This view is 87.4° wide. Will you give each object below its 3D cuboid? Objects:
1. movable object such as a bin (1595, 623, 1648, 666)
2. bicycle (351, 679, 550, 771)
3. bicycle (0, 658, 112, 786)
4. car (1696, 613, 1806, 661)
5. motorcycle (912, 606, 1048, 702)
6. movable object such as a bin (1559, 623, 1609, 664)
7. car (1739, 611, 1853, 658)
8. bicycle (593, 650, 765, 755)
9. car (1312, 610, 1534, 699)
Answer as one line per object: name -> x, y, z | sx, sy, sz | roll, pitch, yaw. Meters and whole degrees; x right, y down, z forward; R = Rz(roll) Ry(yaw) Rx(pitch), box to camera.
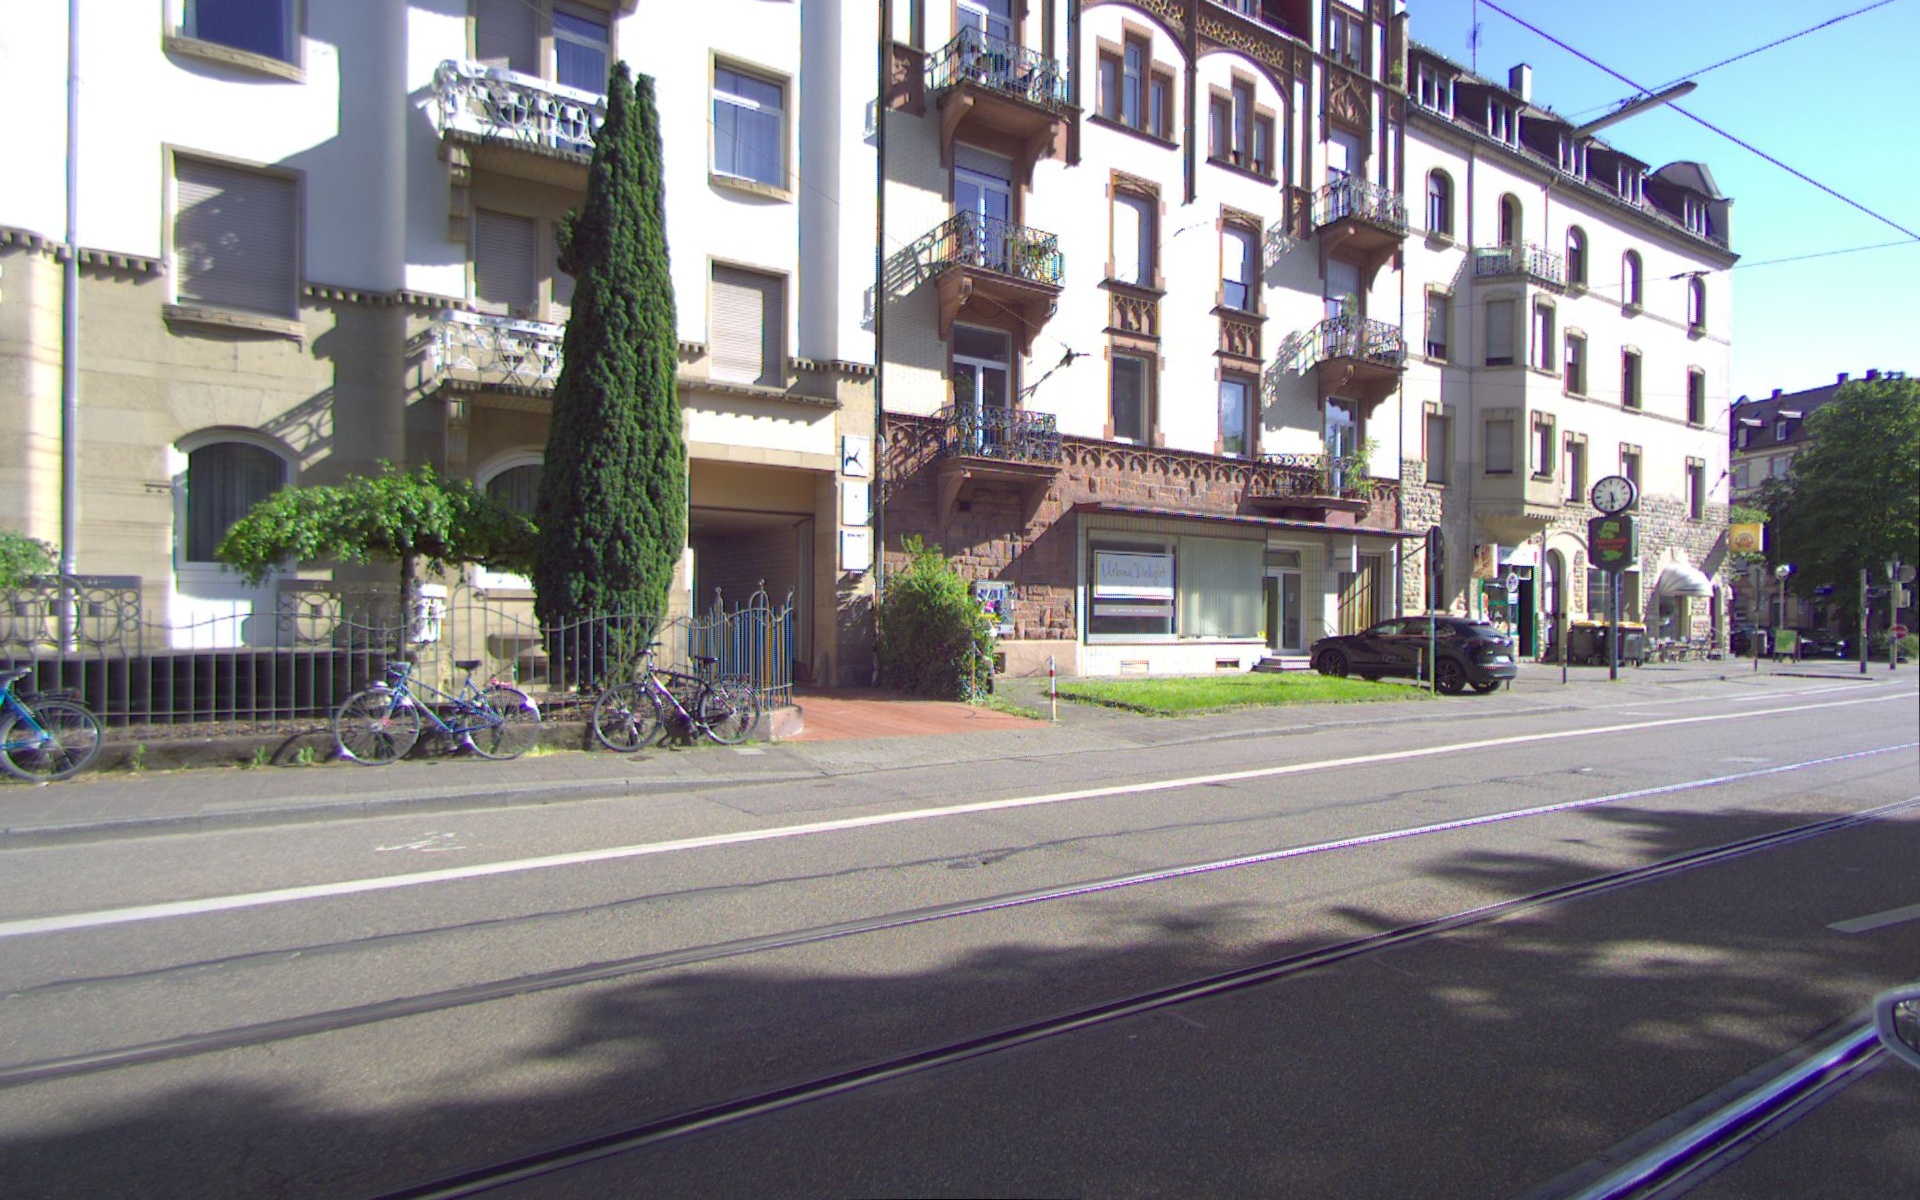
movable object such as a bin -> 20.692, 1.396, 31.417 | 1.128, 1.290, 0.942 | 2, 0, -26
bicycle -> -4.764, 1.150, 9.458 | 1.633, 0.772, 0.316 | 2, 0, -31
bicycle -> -7.710, 0.938, 7.736 | 1.728, 0.955, 0.402 | 2, 0, -31
car -> 37.061, 1.695, 47.197 | 1.961, 2.040, 3.999 | 2, 0, -1
motorcycle -> 0.271, 0.885, 17.625 | 0.814, 1.476, 3.067 | 2, 0, -32
movable object such as a bin -> 19.880, 1.391, 31.996 | 1.228, 1.239, 0.829 | 2, 0, -28
car -> 39.309, 1.588, 47.372 | 1.961, 2.040, 3.999 | 2, 0, -1
bicycle -> -3.008, 1.080, 10.843 | 1.728, 1.053, 0.402 | 2, 0, -31
car -> 9.856, 1.099, 21.650 | 1.755, 1.523, 3.958 | 2, 1, -36
